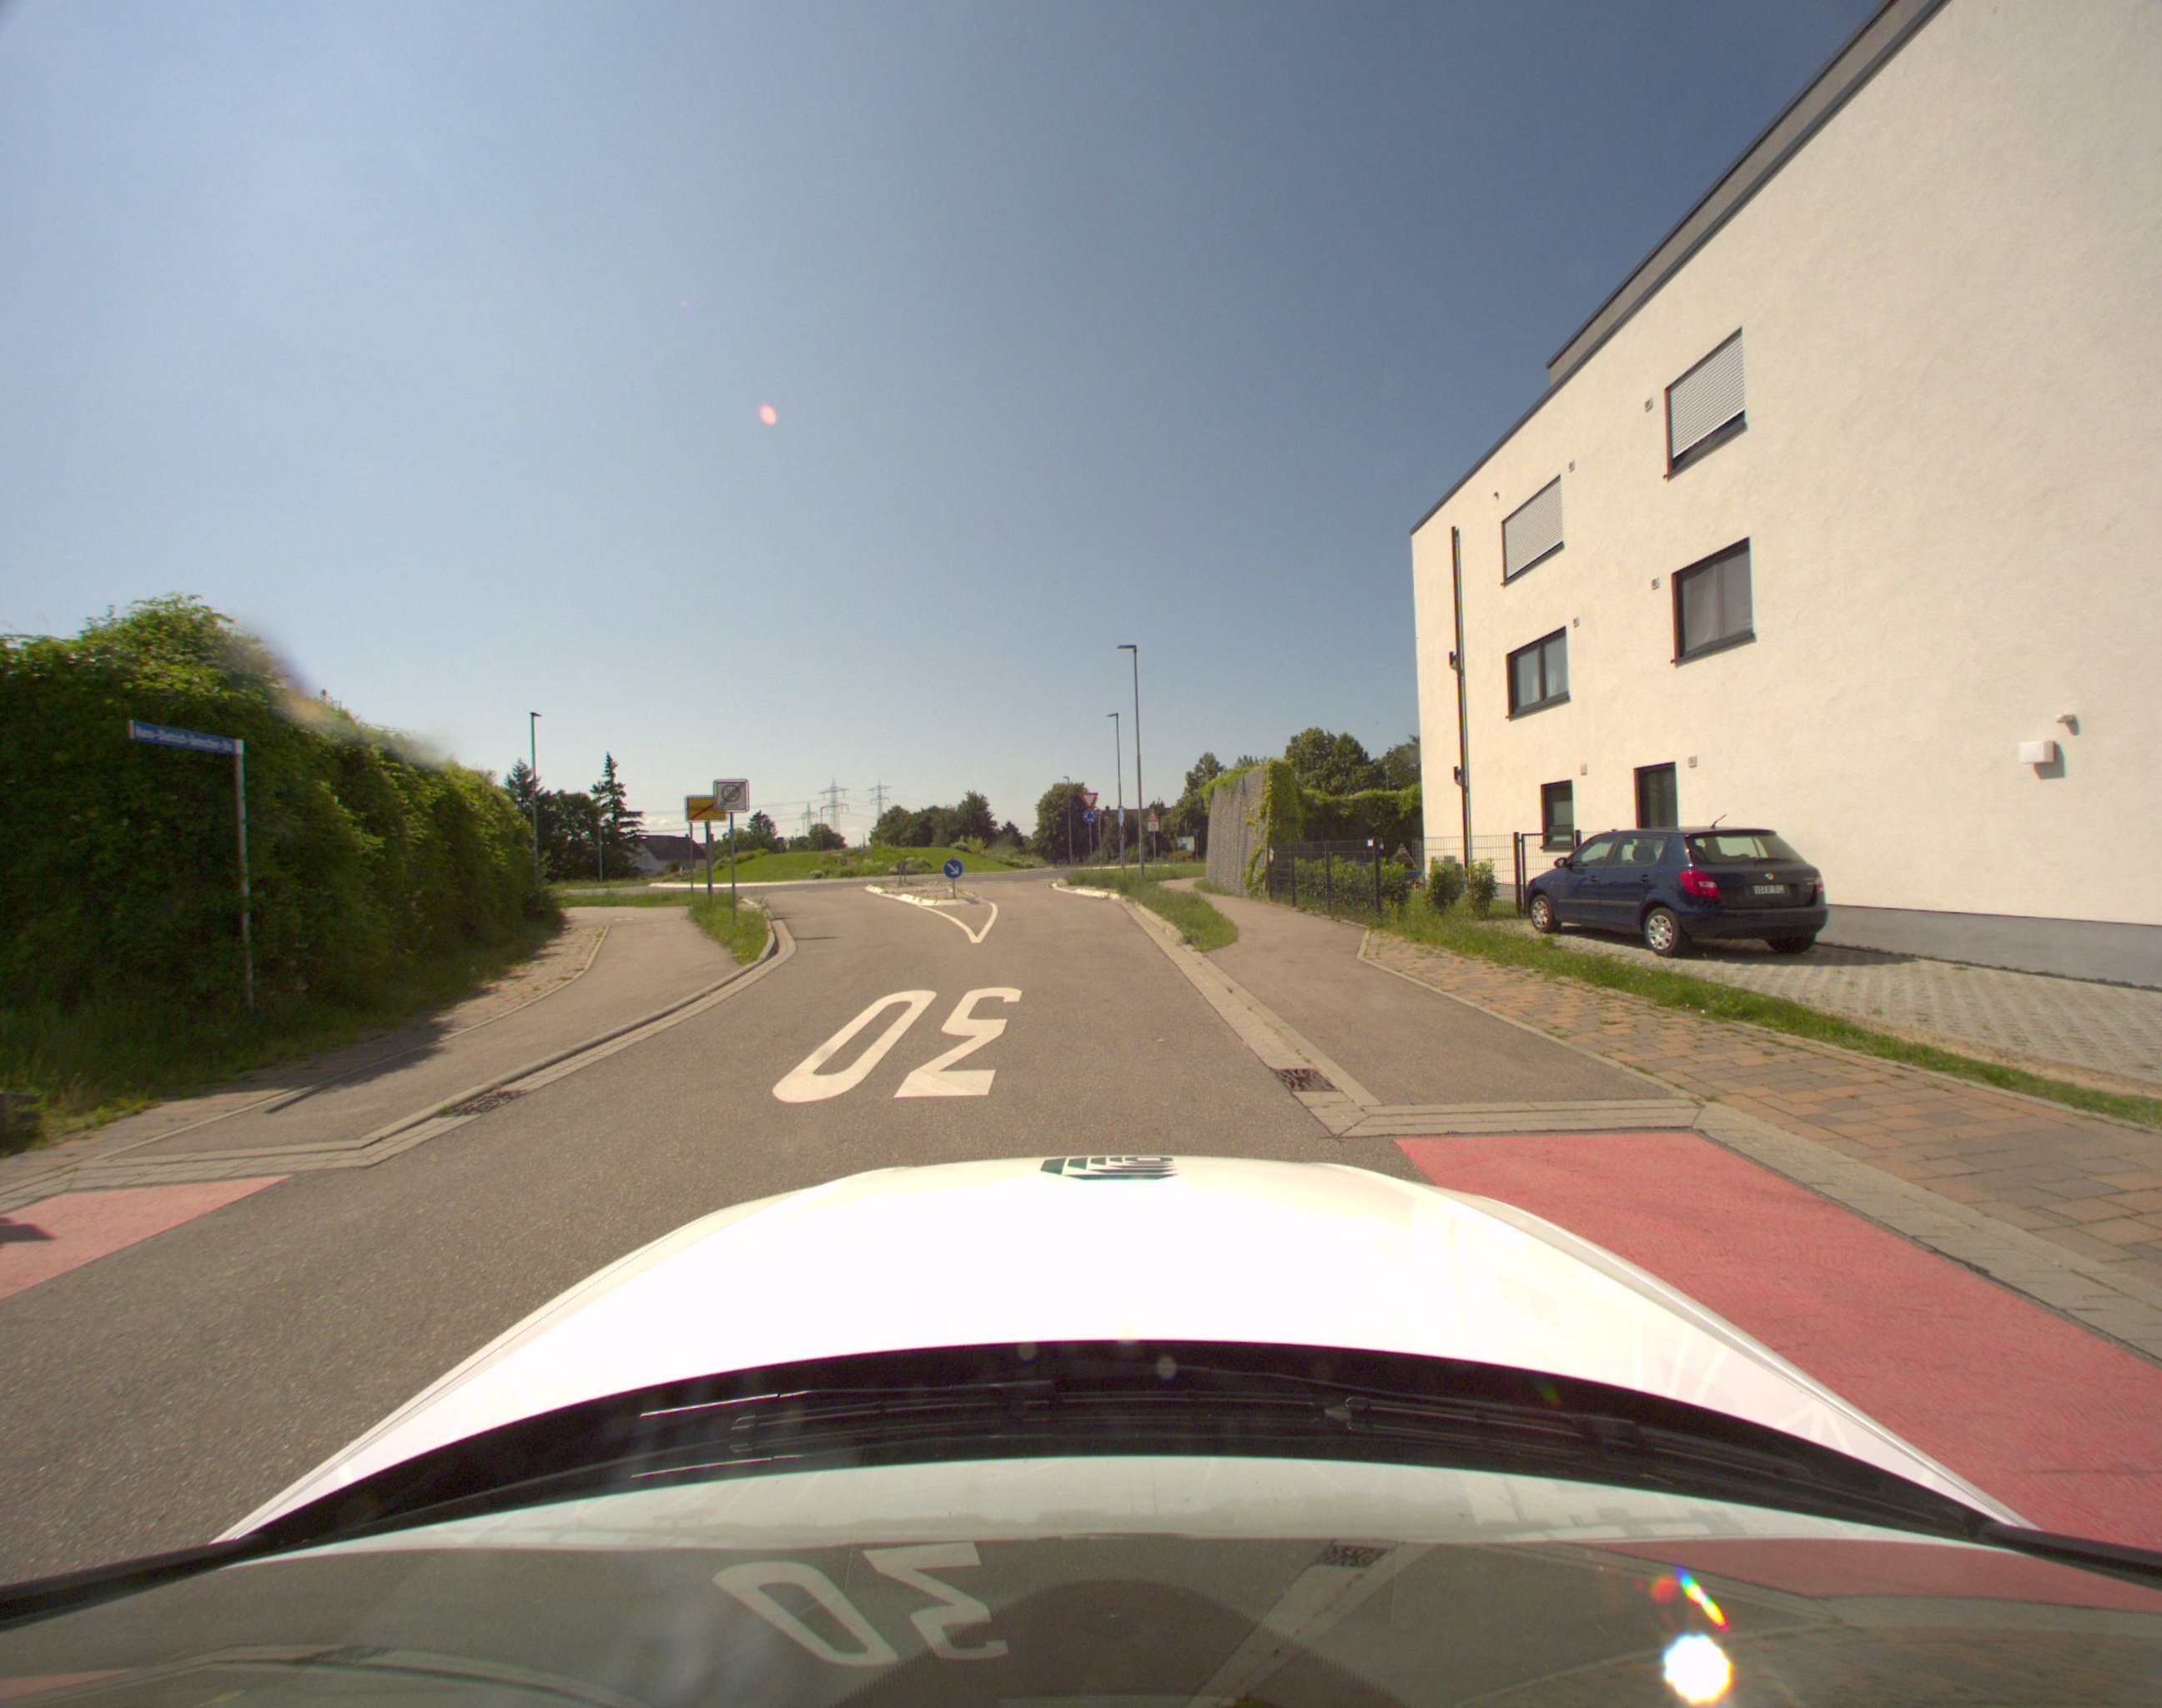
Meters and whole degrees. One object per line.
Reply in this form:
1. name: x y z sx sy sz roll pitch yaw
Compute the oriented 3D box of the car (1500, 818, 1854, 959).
1. car: 7.463 0.340 10.802 1.672 1.469 4.116 -1 1 0
